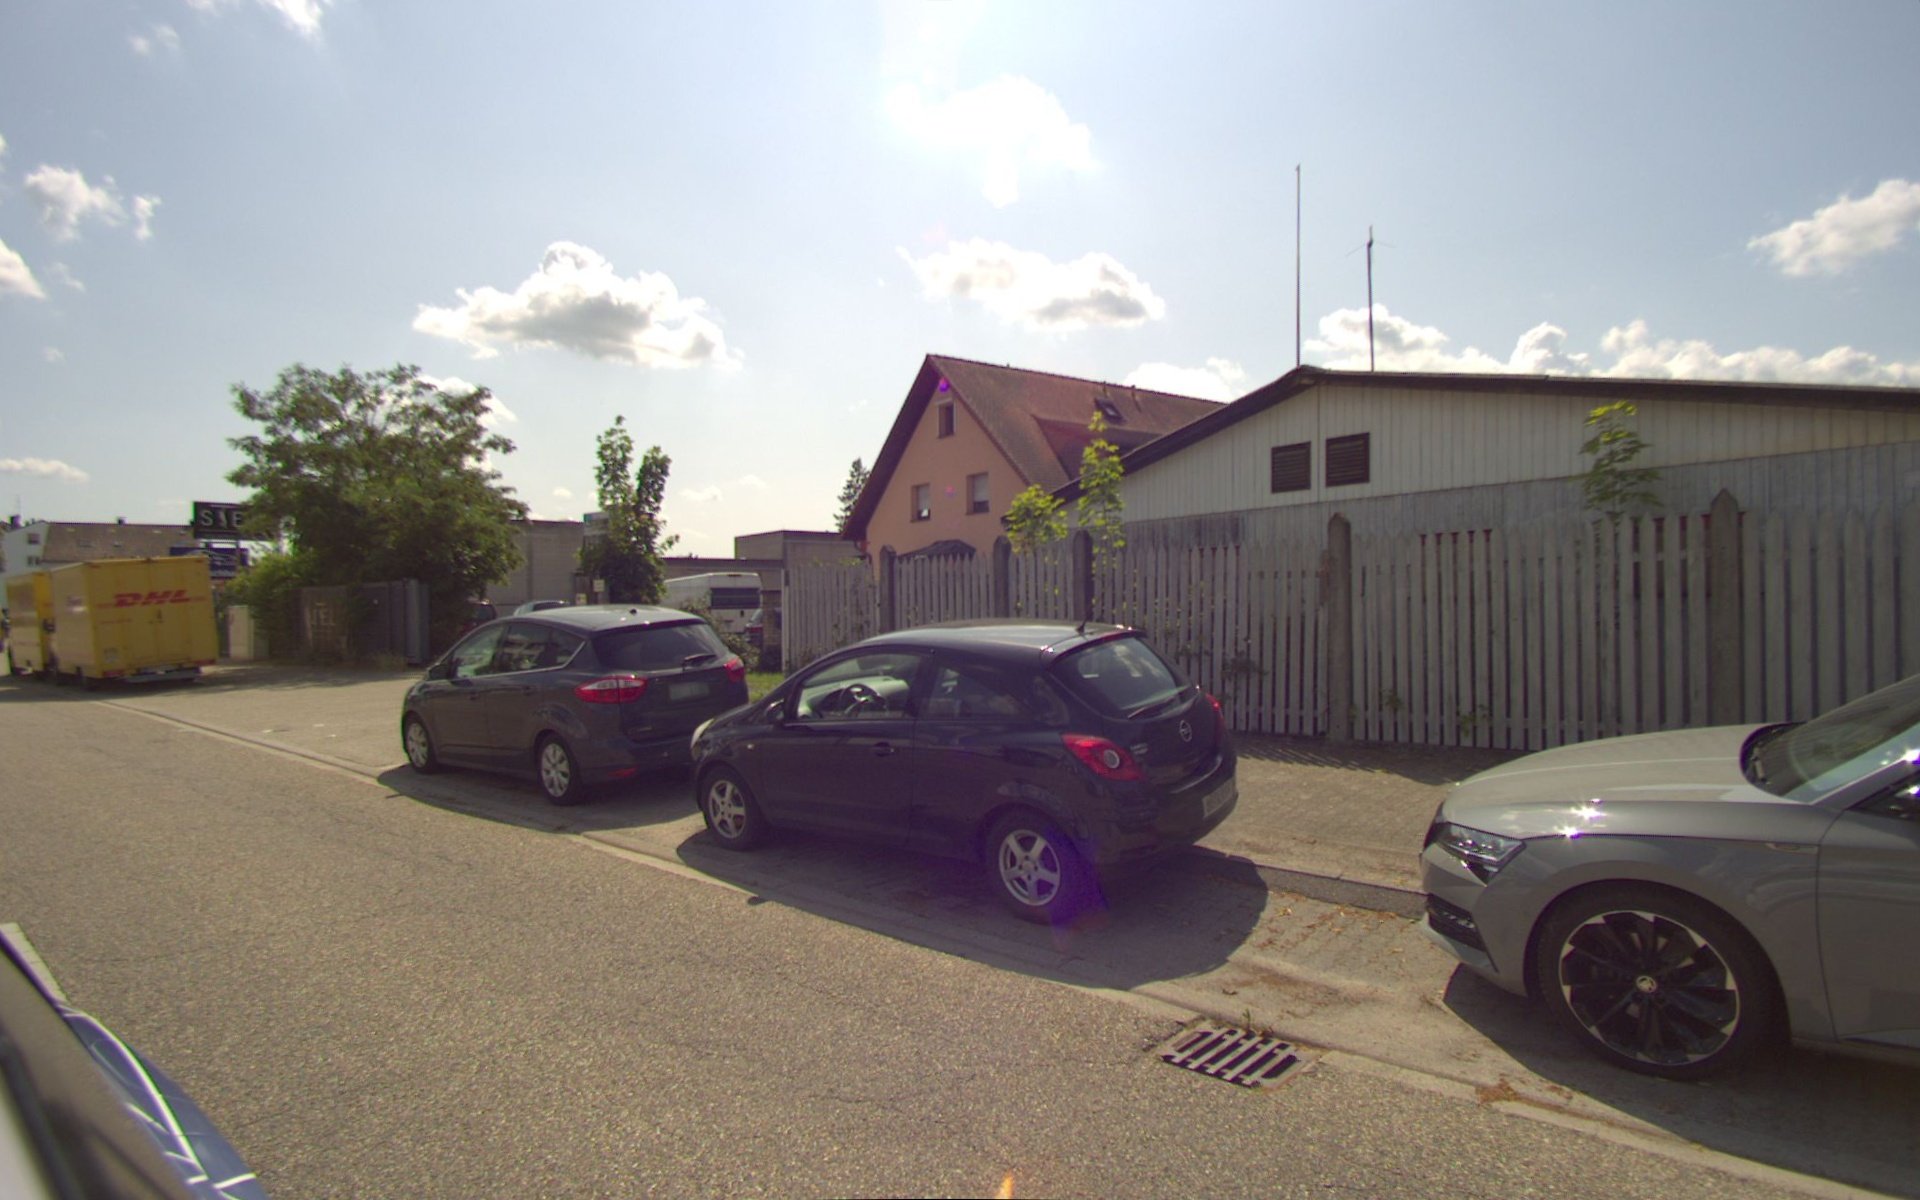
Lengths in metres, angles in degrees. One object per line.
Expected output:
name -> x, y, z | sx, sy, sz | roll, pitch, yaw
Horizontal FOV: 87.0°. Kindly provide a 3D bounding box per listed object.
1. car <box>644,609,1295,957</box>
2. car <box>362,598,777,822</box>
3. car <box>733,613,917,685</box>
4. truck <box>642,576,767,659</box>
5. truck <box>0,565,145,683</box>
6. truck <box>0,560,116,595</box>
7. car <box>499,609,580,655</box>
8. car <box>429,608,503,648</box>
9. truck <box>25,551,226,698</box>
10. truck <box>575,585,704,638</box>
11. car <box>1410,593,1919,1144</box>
car -> -0.142, 0.873, 6.507 | 4.023, 1.459, 1.612 | -1, 4, 40
car -> -3.902, 0.869, 9.745 | 4.409, 1.616, 1.708 | -1, 2, 39
car -> -3.202, 1.132, 24.004 | 3.930, 1.527, 1.901 | -1, -2, -23
truck -> -8.603, 0.575, 33.634 | 2.082, 2.506, 5.734 | 0, -1, -36
truck -> -24.807, 0.652, 27.925 | 7.169, 2.876, 2.246 | -2, 0, 40
truck -> -80.686, -1.932, 89.482 | 2.722, 2.878, 9.152 | -2, -2, 45
car -> -14.858, 1.101, 35.664 | 1.742, 1.524, 3.926 | 0, -1, -37
car -> -17.190, 0.973, 35.130 | 1.785, 1.315, 3.878 | 0, -2, -34
truck -> -19.323, 0.501, 23.258 | 7.100, 2.884, 2.293 | -1, 2, 41
truck -> -17.526, 0.628, 55.501 | 6.332, 2.786, 2.330 | 0, -1, -36
car -> 4.067, 0.754, 2.928 | 4.739, 1.529, 1.716 | -2, 1, 40
